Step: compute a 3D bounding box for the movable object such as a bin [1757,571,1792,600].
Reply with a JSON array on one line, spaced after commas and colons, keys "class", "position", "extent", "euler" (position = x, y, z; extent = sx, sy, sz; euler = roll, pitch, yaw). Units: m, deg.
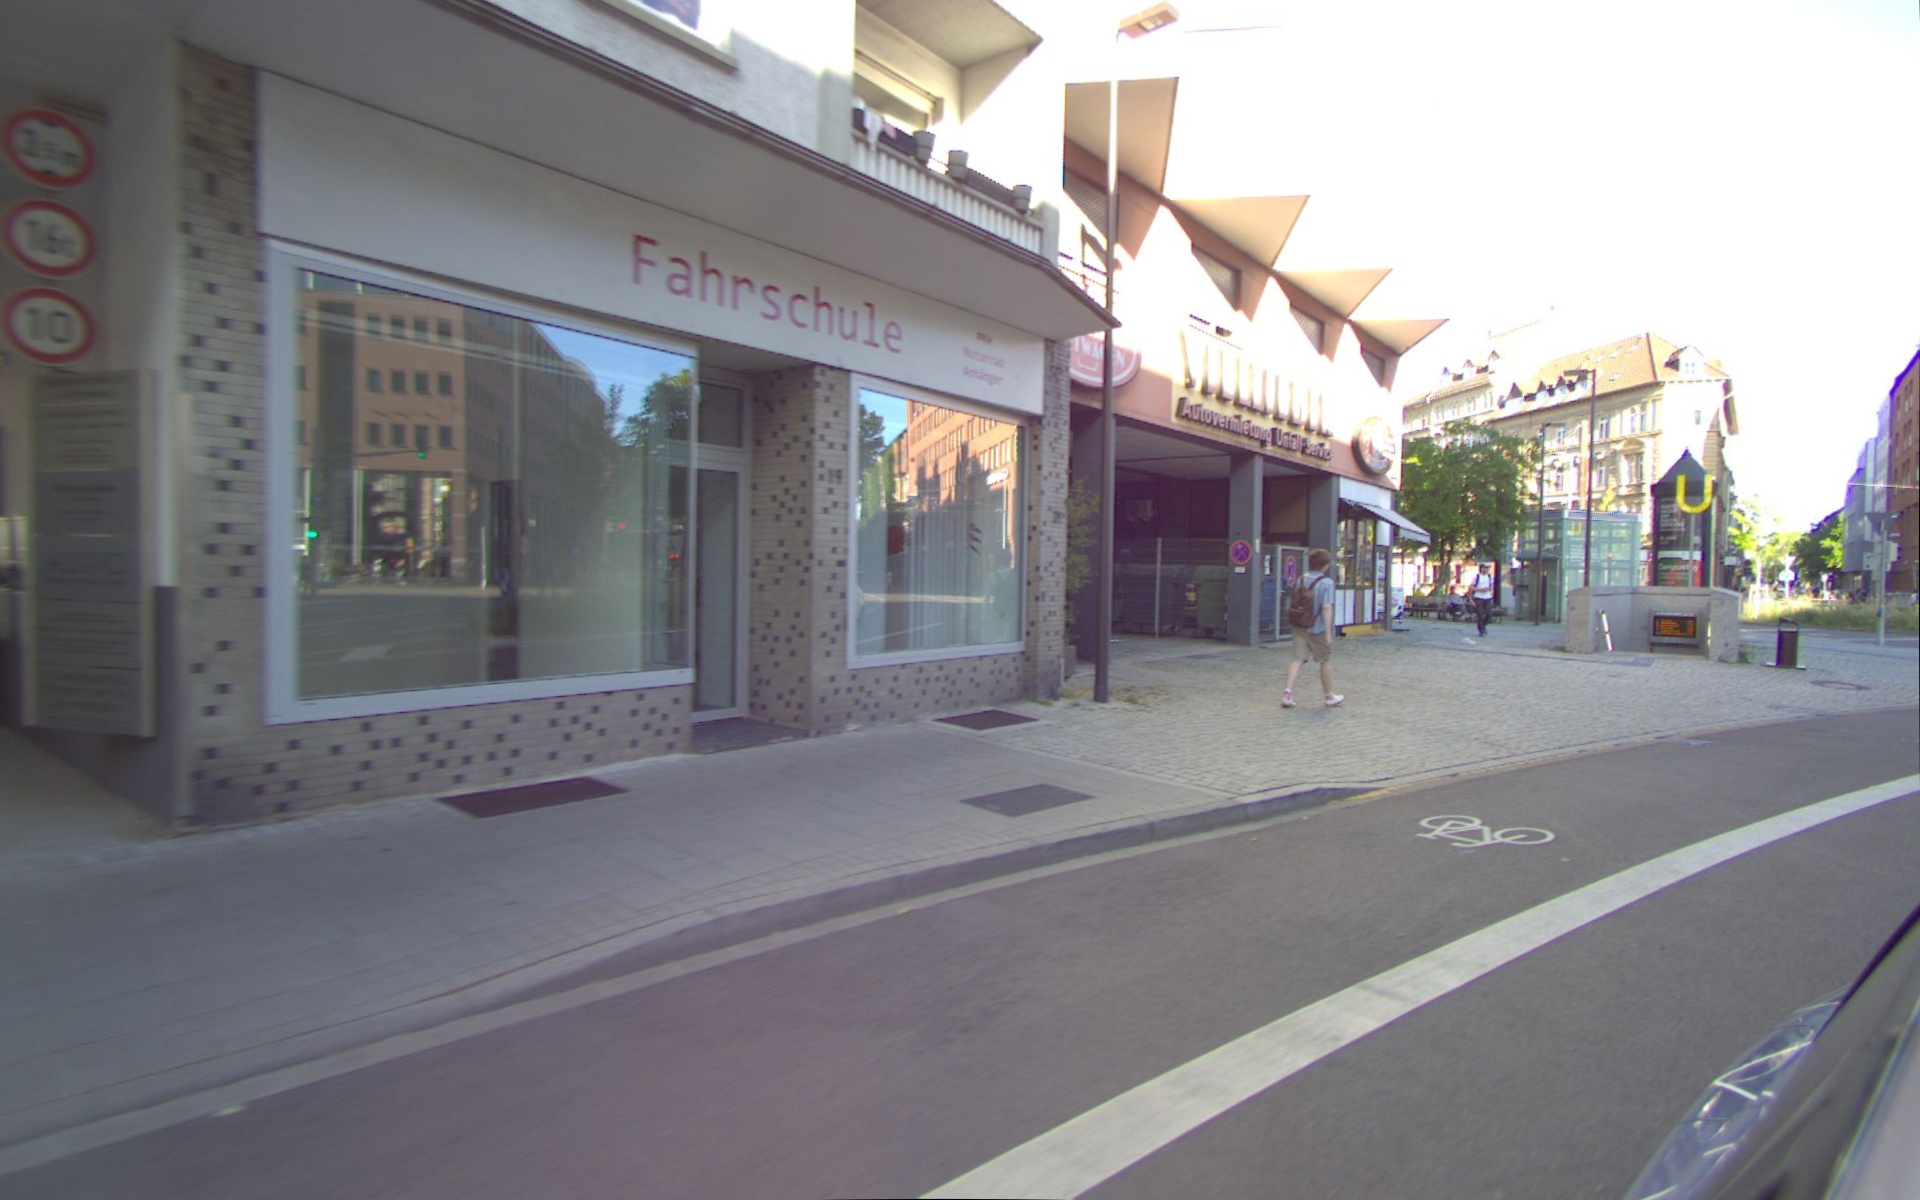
[{"class": "movable object such as a bin", "position": [52.422, -0.928, 65.176], "extent": [1.639, 1.806, 1.384], "euler": [-1, -1, 35]}]

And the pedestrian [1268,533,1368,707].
[{"class": "pedestrian", "position": [4.109, 0.197, 11.601], "extent": [0.730, 1.876, 0.935], "euler": [4, 4, 38]}]

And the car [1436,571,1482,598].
[{"class": "car", "position": [42.747, -1.381, 86.751], "extent": [1.776, 2.208, 3.934], "euler": [-1, 2, -5]}]

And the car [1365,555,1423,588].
[{"class": "car", "position": [41.560, -2.757, 97.150], "extent": [2.231, 3.059, 5.378], "euler": [-1, 2, -15]}]

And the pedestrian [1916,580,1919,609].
[{"class": "pedestrian", "position": [54.425, -0.306, 56.866], "extent": [0.686, 1.658, 0.954], "euler": [0, 2, 25]}]

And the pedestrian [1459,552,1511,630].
[{"class": "pedestrian", "position": [13.154, -0.236, 25.390], "extent": [0.674, 1.889, 1.046], "euler": [1, 1, -4]}]
